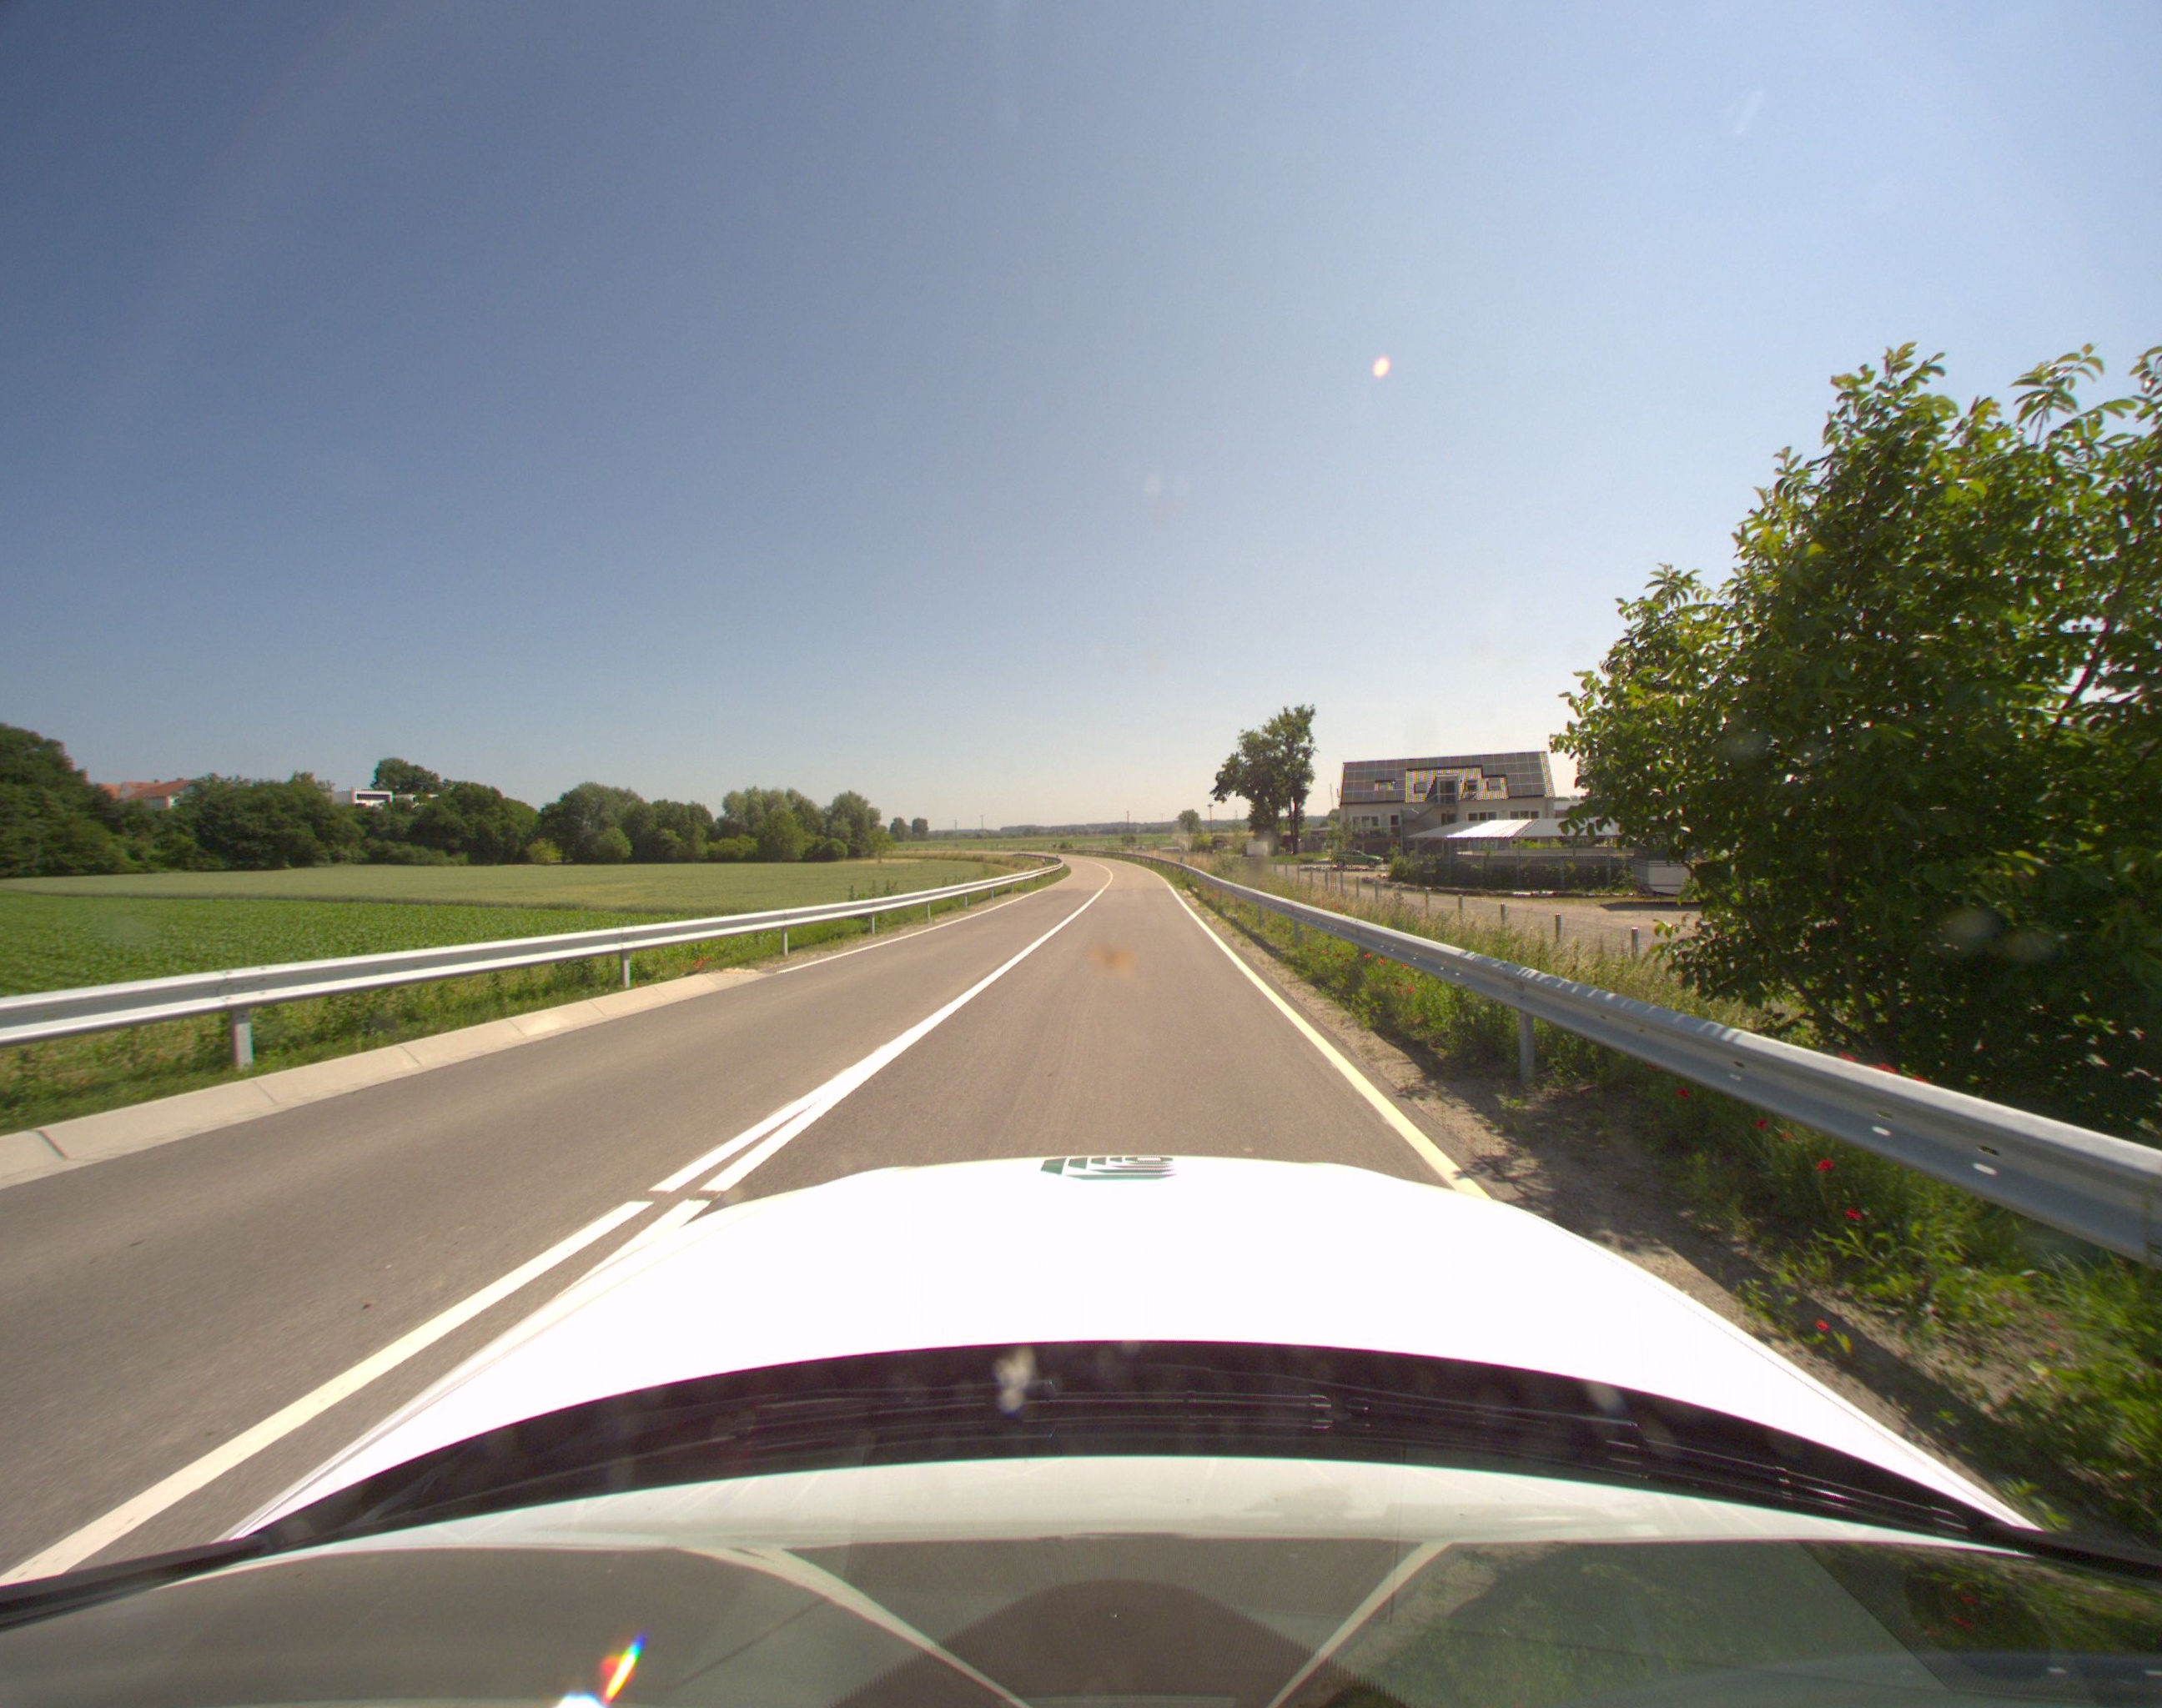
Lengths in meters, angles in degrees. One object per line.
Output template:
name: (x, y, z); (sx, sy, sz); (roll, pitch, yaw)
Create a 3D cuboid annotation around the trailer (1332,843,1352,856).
trailer: (31.750, -0.541, 99.039); (1.694, 1.496, 3.161); (-1, -1, 31)

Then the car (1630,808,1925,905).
car: (28.403, 0.093, 33.841); (8.889, 3.652, 2.795); (-1, 1, 22)

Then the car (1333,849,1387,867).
car: (24.703, 0.330, 72.058); (4.320, 1.580, 1.945); (0, 0, 24)

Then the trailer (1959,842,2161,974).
trailer: (23.018, 1.139, 18.191); (2.186, 2.670, 4.428); (-3, 0, -39)
